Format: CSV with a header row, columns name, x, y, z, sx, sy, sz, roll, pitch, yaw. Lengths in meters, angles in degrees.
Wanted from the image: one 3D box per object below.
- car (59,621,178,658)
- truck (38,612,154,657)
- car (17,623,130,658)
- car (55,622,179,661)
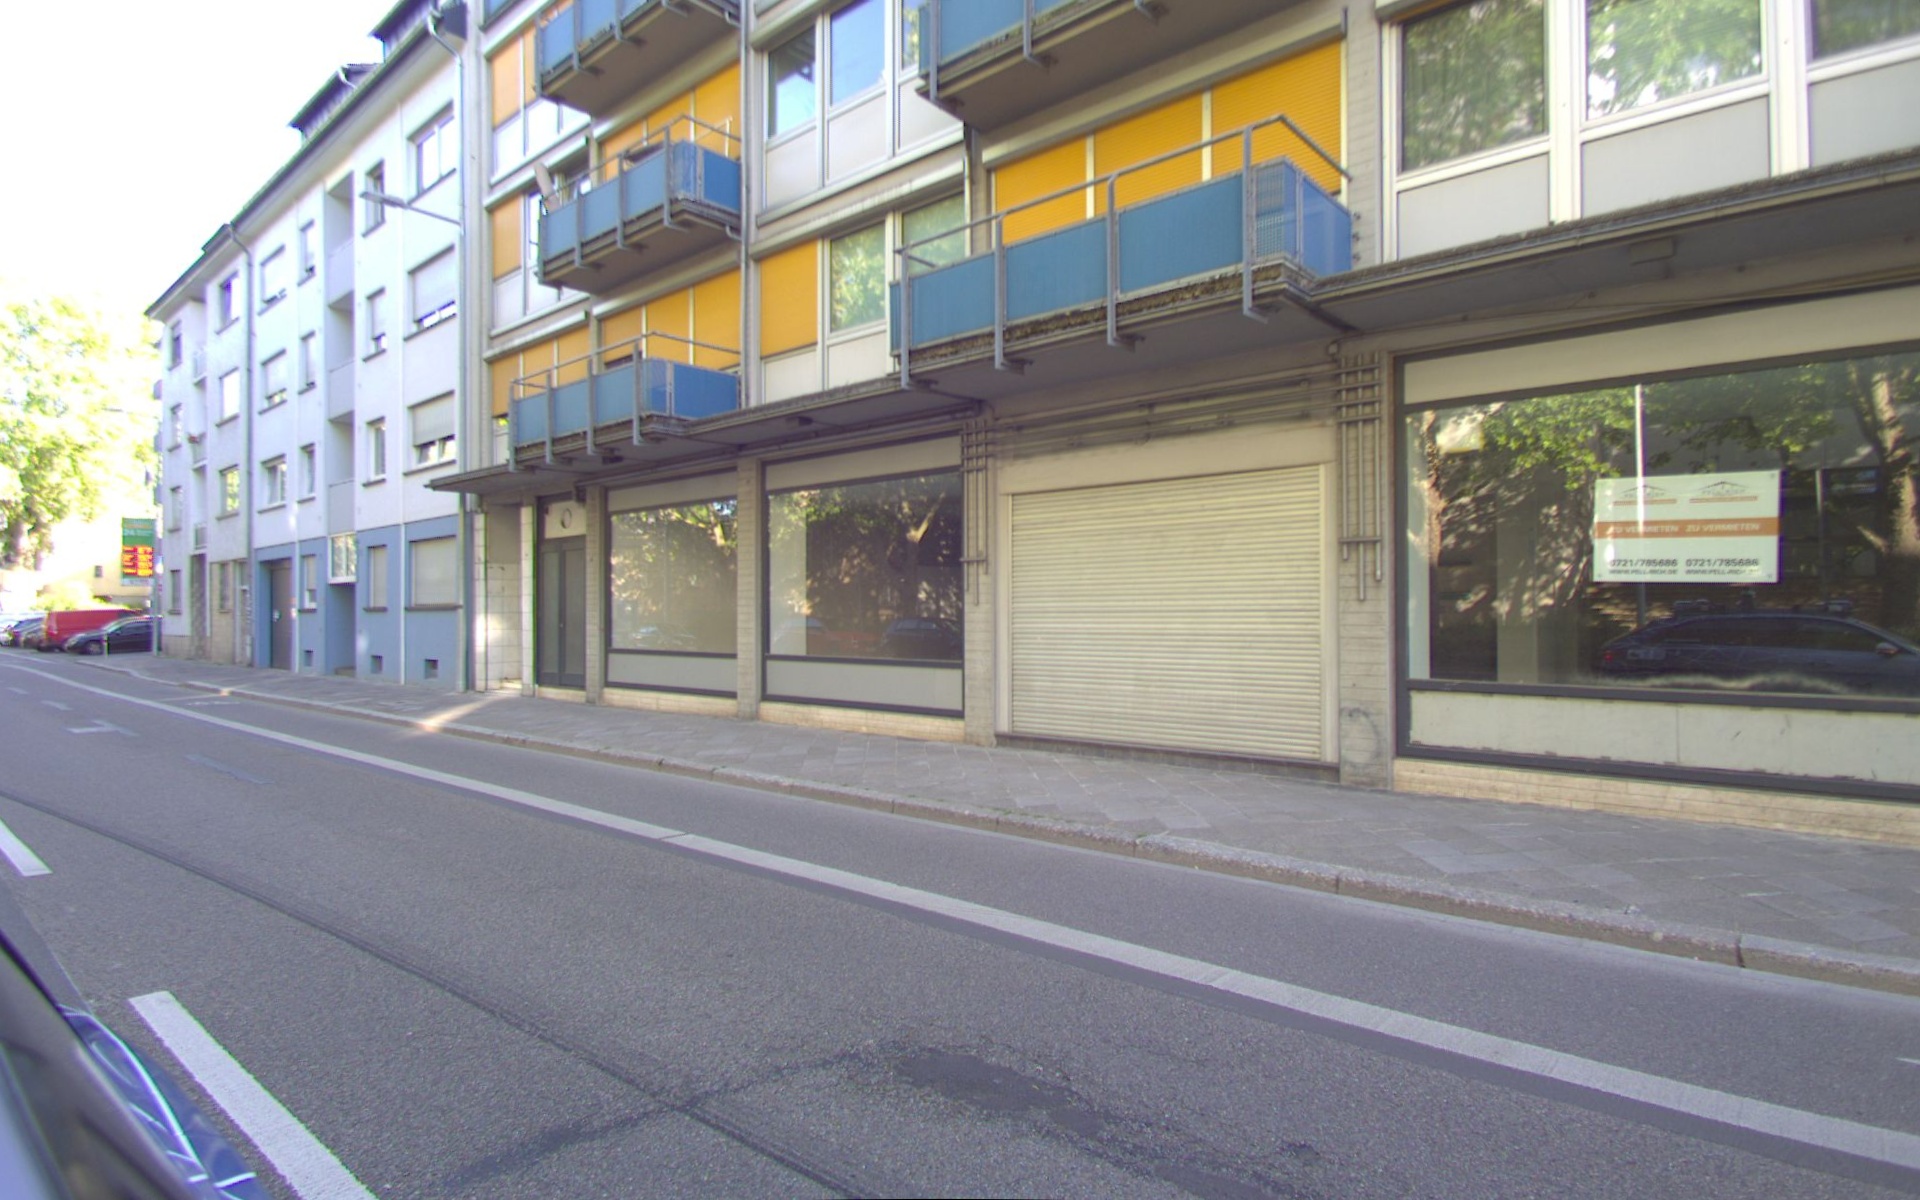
name,x,y,z,sx,sy,sz,roll,pitch,yaw
car,-38.102,1.764,45.898,1.761,1.514,3.944,-1,0,42
truck,-40.493,1.577,47.490,1.761,1.951,3.944,-1,0,42
car,-42.903,1.910,49.037,1.761,1.514,3.944,-1,0,42
car,-36.621,1.768,44.011,1.761,1.468,3.944,-1,0,42
